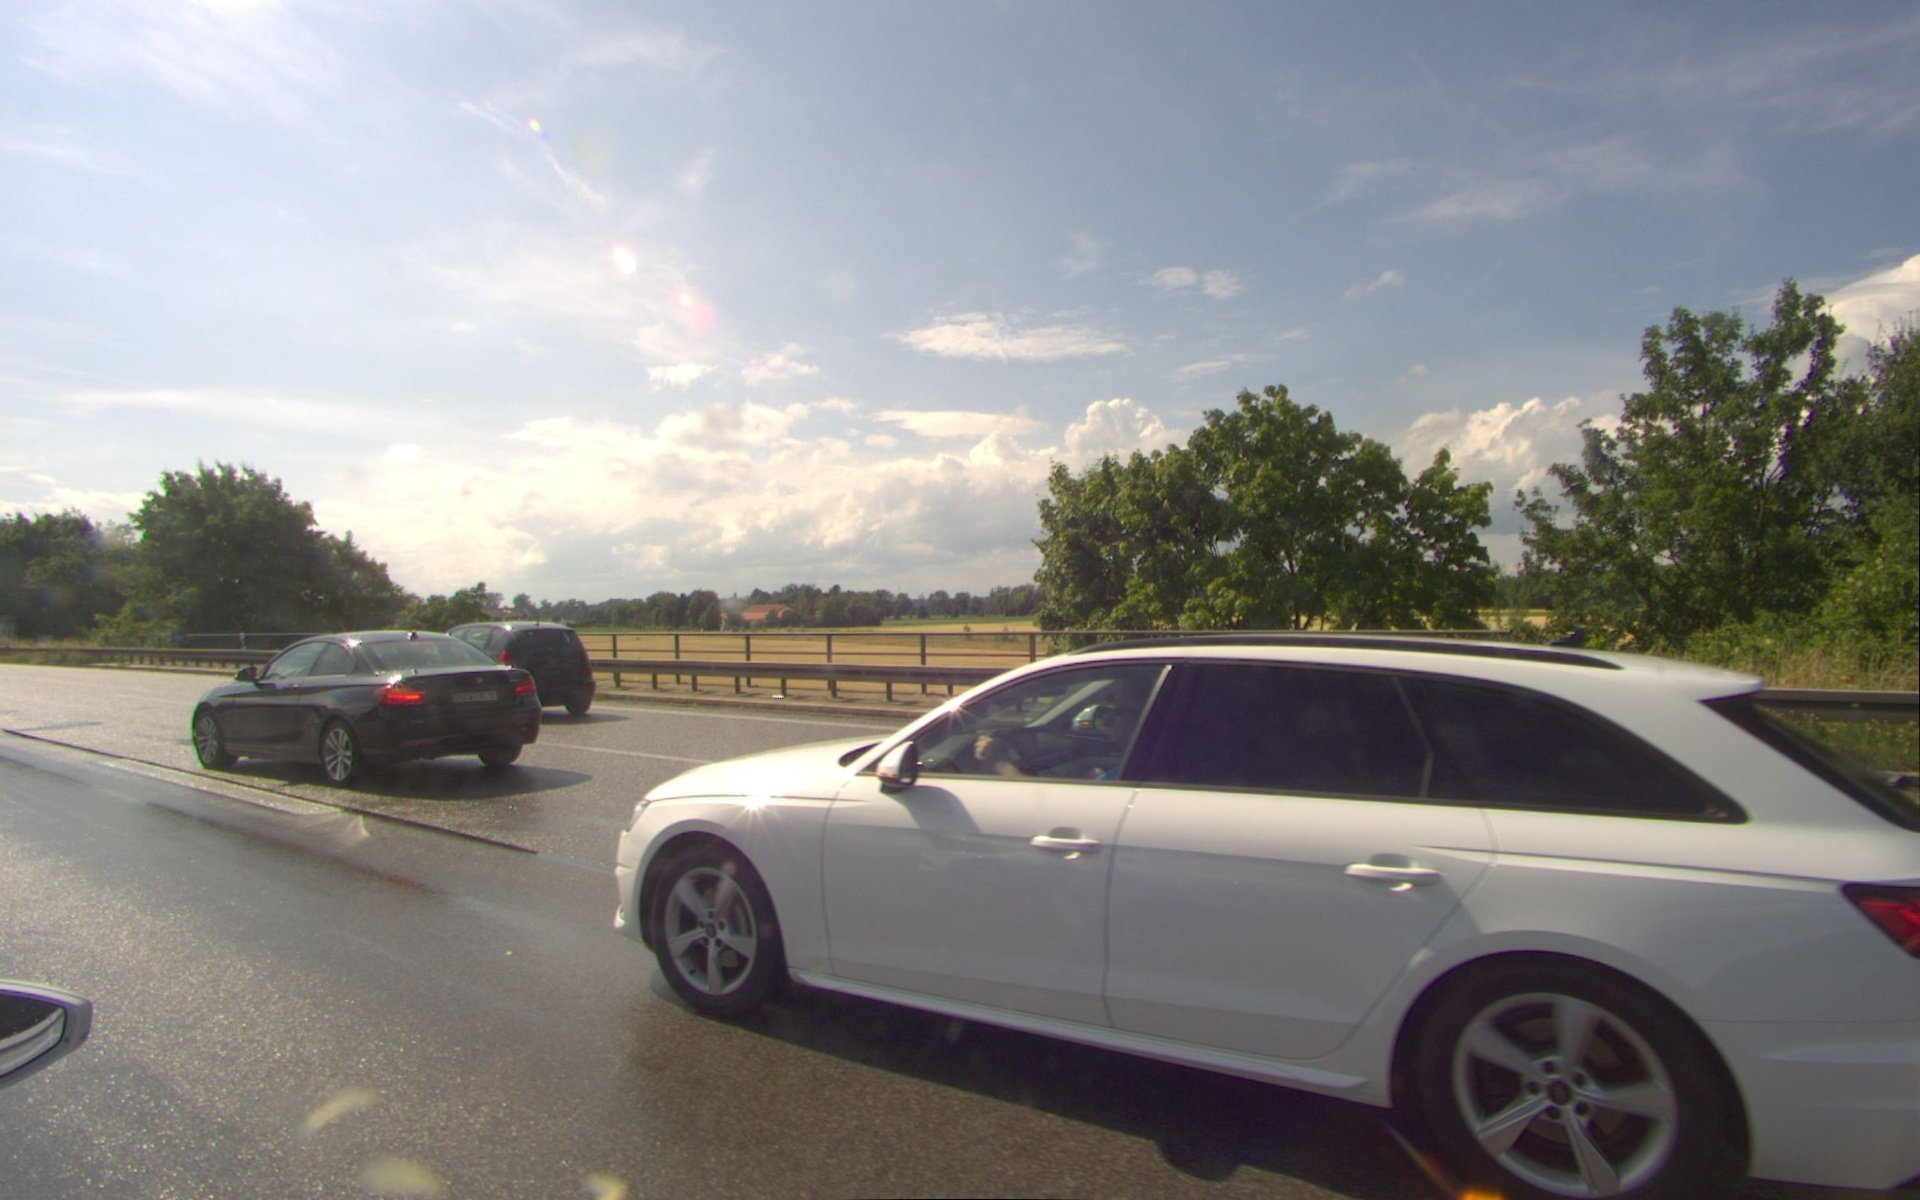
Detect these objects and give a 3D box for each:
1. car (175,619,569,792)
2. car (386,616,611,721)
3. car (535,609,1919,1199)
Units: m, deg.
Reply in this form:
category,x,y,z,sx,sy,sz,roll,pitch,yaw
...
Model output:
category,x,y,z,sx,sy,sz,roll,pitch,yaw
car,-6.294,0.982,10.616,4.194,1.483,1.845,-1,-1,31
car,-7.938,1.099,17.127,3.948,1.589,1.843,-1,-2,36
car,0.629,0.812,3.825,4.444,1.444,1.824,-2,0,30
